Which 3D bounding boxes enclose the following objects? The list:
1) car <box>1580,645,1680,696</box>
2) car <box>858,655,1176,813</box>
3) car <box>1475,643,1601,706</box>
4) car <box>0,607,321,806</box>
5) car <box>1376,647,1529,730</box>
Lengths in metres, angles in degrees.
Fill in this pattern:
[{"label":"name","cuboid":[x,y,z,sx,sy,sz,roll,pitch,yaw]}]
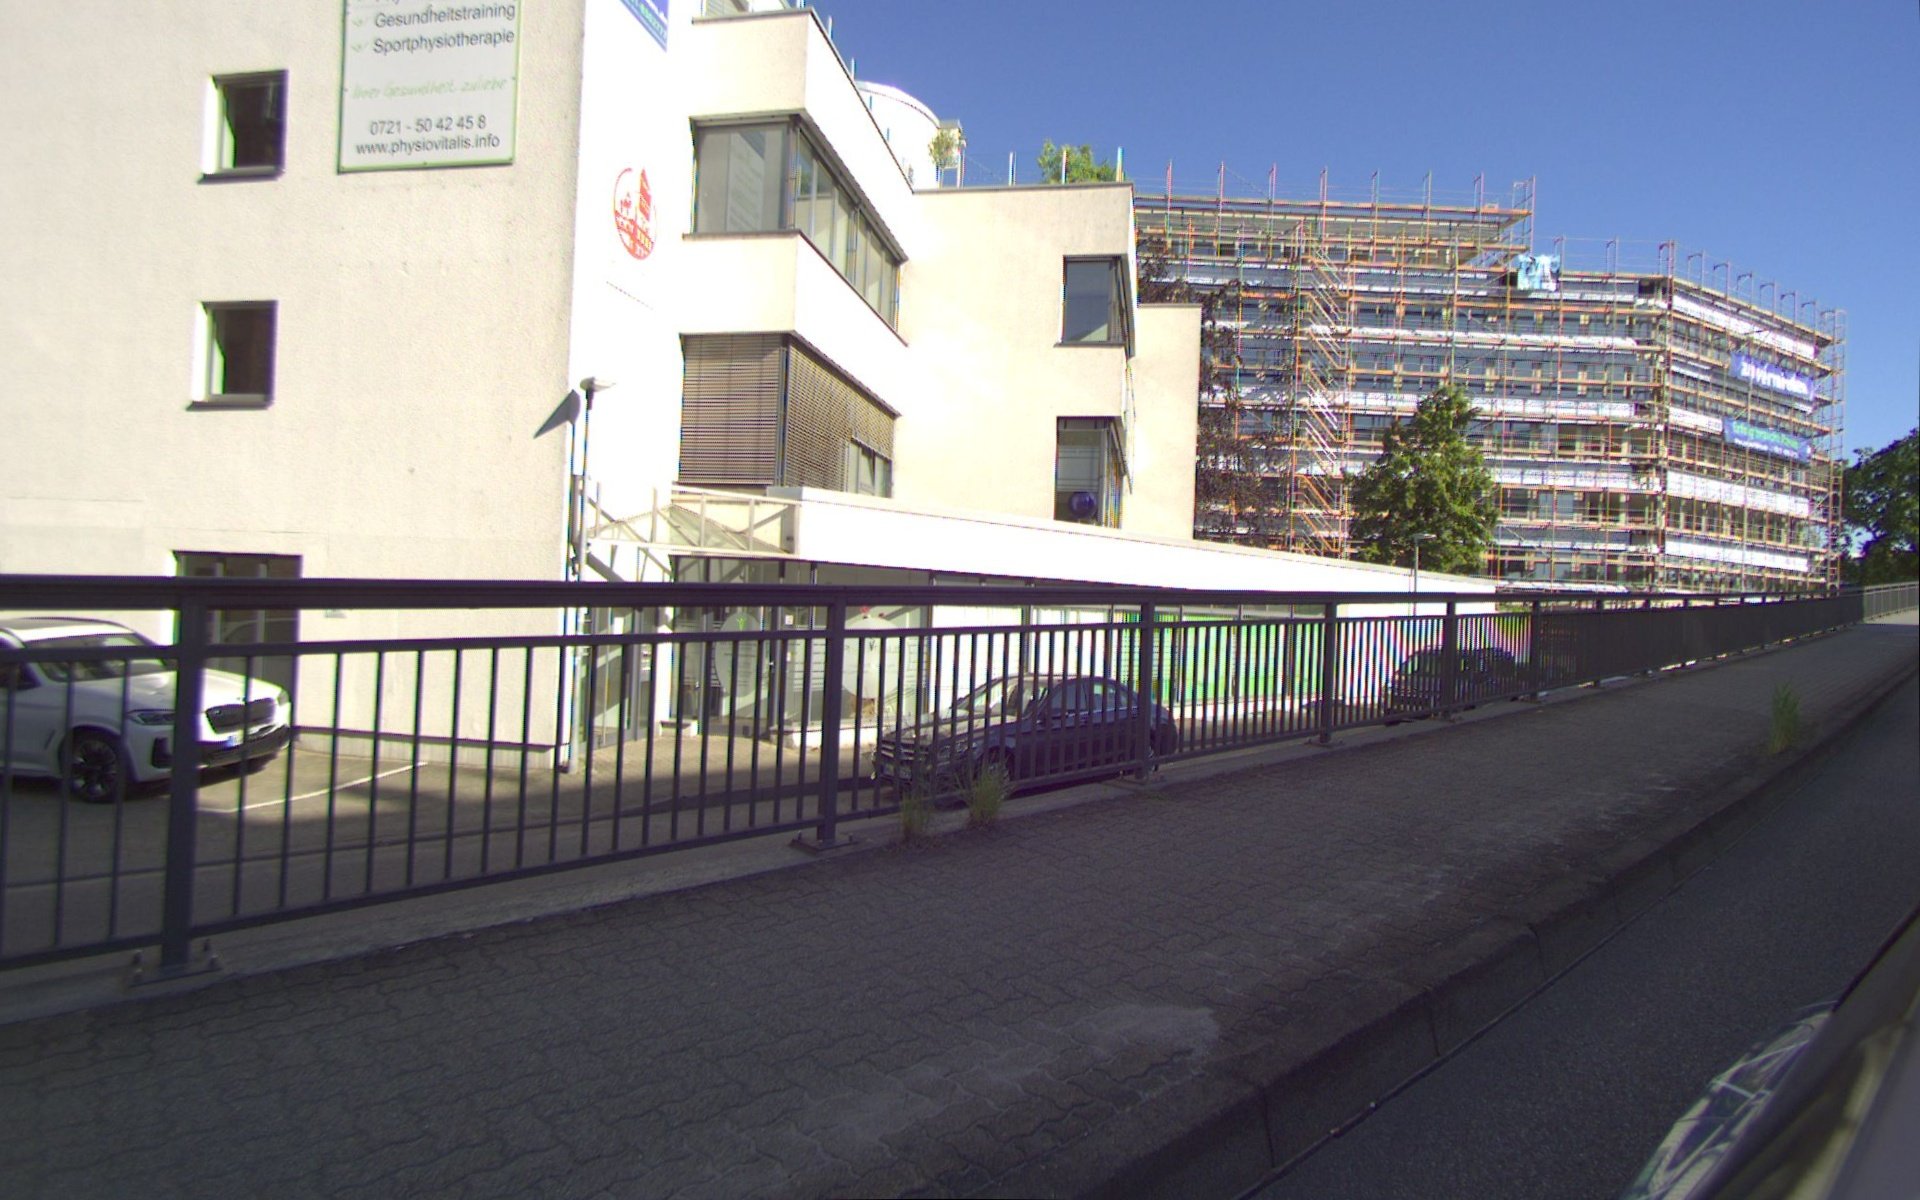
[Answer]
[{"label":"car","cuboid":[21.095,2.168,31.796,3.931,1.410,1.723,1,-1,-42]},{"label":"car","cuboid":[0.819,1.542,12.803,3.929,1.541,1.724,1,-1,-41]},{"label":"car","cuboid":[14.989,1.862,26.155,3.931,1.410,1.723,1,-1,-42]},{"label":"car","cuboid":[-9.558,1.015,10.839,4.455,1.707,1.840,2,0,9]},{"label":"car","cuboid":[10.868,1.856,22.224,3.931,1.541,1.723,1,-1,-42]}]
